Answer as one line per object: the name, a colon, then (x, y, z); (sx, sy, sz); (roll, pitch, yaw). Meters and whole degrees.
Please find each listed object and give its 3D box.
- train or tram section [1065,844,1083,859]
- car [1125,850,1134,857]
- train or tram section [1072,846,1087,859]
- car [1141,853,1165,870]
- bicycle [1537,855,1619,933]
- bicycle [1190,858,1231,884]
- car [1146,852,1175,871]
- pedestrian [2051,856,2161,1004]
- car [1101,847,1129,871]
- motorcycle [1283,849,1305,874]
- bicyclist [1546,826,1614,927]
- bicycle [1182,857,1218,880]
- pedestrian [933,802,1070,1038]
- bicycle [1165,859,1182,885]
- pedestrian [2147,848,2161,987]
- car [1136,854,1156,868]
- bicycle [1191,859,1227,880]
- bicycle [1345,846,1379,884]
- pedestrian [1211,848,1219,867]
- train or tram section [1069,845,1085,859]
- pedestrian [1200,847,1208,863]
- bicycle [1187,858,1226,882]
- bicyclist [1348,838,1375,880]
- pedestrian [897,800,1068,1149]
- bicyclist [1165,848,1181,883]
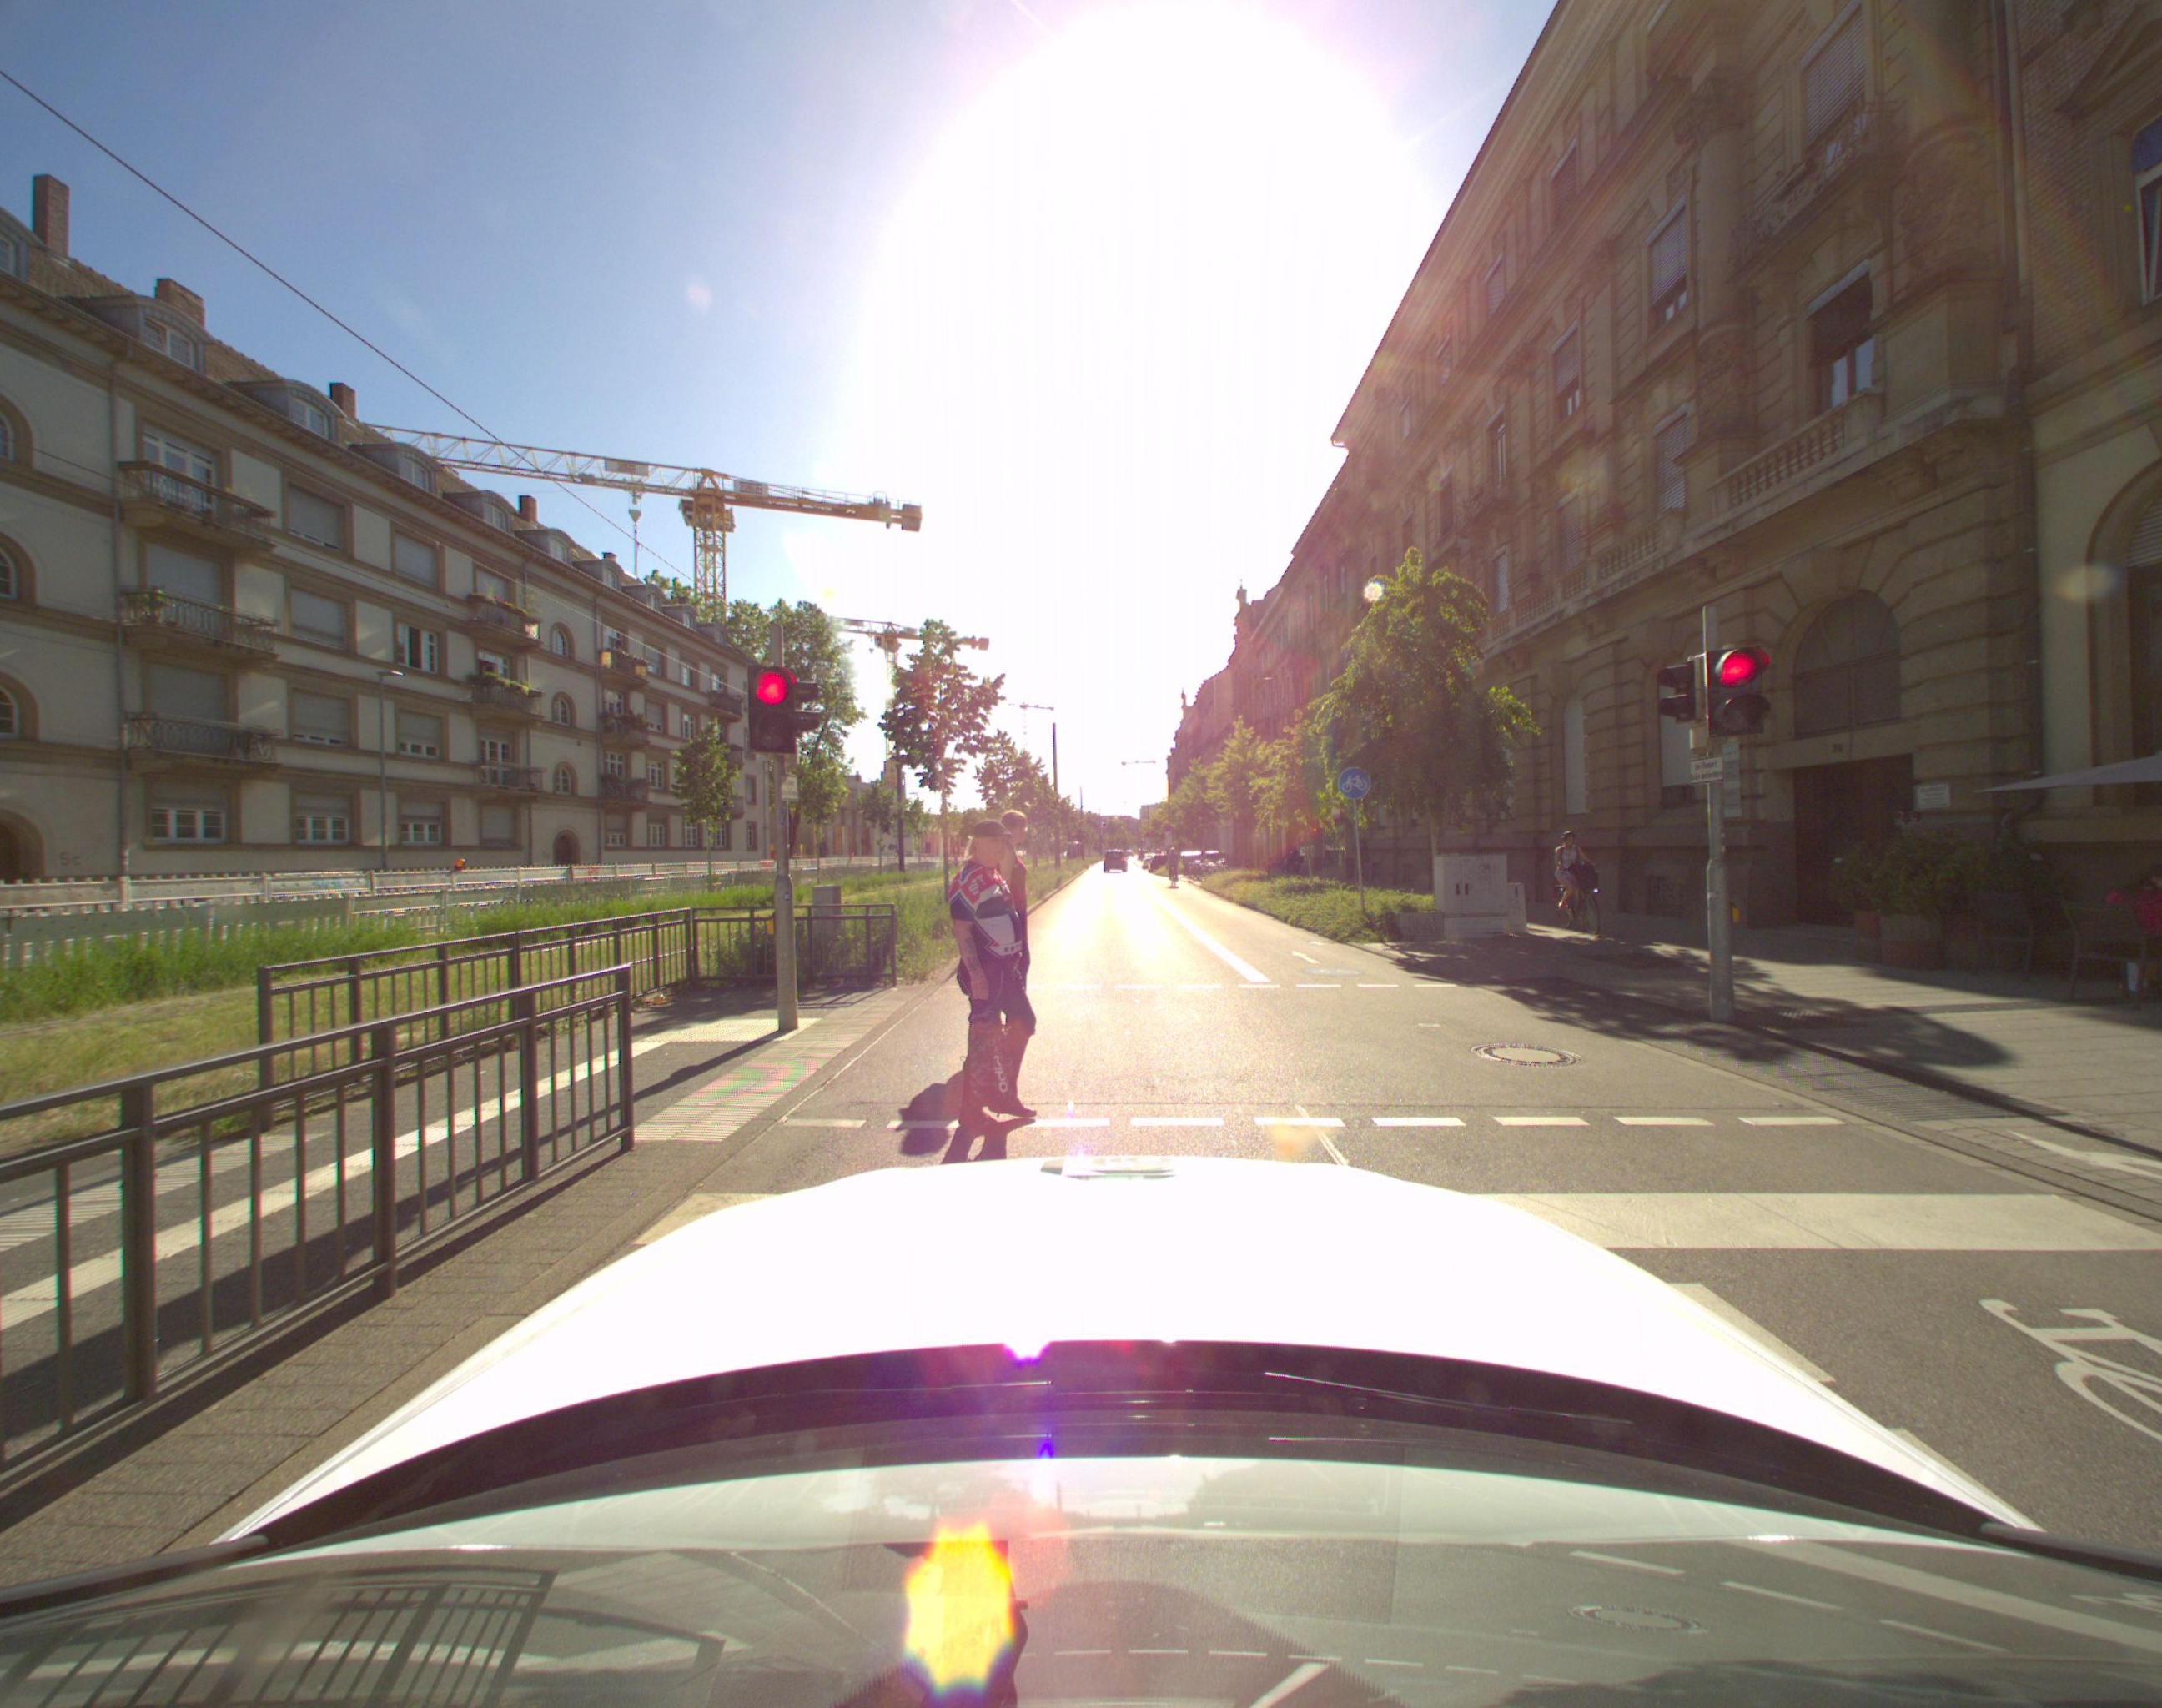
train or tram section: (-1.198, -0.441, 149.238); (2.745, 2.743, 9.870); (0, -1, 3)
car: (11.889, -0.185, 200.433); (1.986, 1.729, 4.001); (0, -1, 2)
train or tram section: (-0.255, -0.271, 168.900); (2.745, 2.743, 9.870); (0, -1, 3)
car: (6.989, 0.725, 79.776); (2.020, 1.499, 4.532); (-2, 0, 2)
bicycle: (8.545, 0.655, 14.082); (0.579, 1.222, 1.906); (-2, 0, 12)
bicycle: (6.276, 0.823, 39.487); (1.786, 1.030, 0.528); (-6, 0, 1)
car: (6.546, 0.583, 67.408); (2.020, 1.499, 4.655); (-2, 0, 2)
pedestrian: (9.105, 0.626, 7.003); (0.703, 1.178, 0.635); (-3, 0, 1)
car: (2.856, 0.407, 69.165); (2.192, 1.926, 4.655); (-2, 0, 2)
motorcycle: (11.517, 0.395, 44.028); (0.697, 1.267, 1.983); (-2, 0, 2)
bicyclist: (8.506, 0.372, 13.930); (0.662, 1.639, 0.964); (-2, 0, 12)
bicycle: (6.420, 0.791, 43.952); (1.786, 1.030, 0.528); (-6, 0, 1)
pedestrian: (-0.677, 0.538, 7.052); (1.073, 1.908, 0.652); (-2, 0, -5)
bicycle: (4.387, 0.855, 38.641); (0.599, 1.181, 1.870); (0, 0, 1)
pedestrian: (9.956, 0.549, 6.994); (0.703, 1.236, 0.635); (-3, 0, 1)
car: (7.332, 0.818, 92.304); (2.020, 1.499, 4.532); (-2, 0, 2)
bicycle: (6.656, 0.825, 42.440); (1.786, 1.030, 0.528); (-2, 0, 1)
bicycle: (10.783, 0.403, 31.280); (0.613, 1.330, 1.901); (-6, 0, 3)
pedestrian: (11.647, 0.298, 70.727); (0.611, 1.611, 0.669); (-2, 0, 1)
train or tram section: (-0.735, -0.356, 159.081); (2.745, 2.743, 9.870); (0, -1, 3)
pedestrian: (12.540, 0.095, 83.115); (0.611, 1.611, 0.669); (-2, 0, 1)
bicycle: (6.313, 0.793, 40.925); (1.786, 1.030, 0.528); (-6, 0, 1)
bicyclist: (10.746, 0.174, 31.219); (0.657, 1.530, 0.801); (-6, 0, 3)
pedestrian: (-0.544, 0.616, 4.706); (0.863, 1.788, 0.969); (-1, 0, -5)
bicyclist: (4.386, 0.533, 38.841); (0.681, 1.673, 0.922); (0, 0, 1)
